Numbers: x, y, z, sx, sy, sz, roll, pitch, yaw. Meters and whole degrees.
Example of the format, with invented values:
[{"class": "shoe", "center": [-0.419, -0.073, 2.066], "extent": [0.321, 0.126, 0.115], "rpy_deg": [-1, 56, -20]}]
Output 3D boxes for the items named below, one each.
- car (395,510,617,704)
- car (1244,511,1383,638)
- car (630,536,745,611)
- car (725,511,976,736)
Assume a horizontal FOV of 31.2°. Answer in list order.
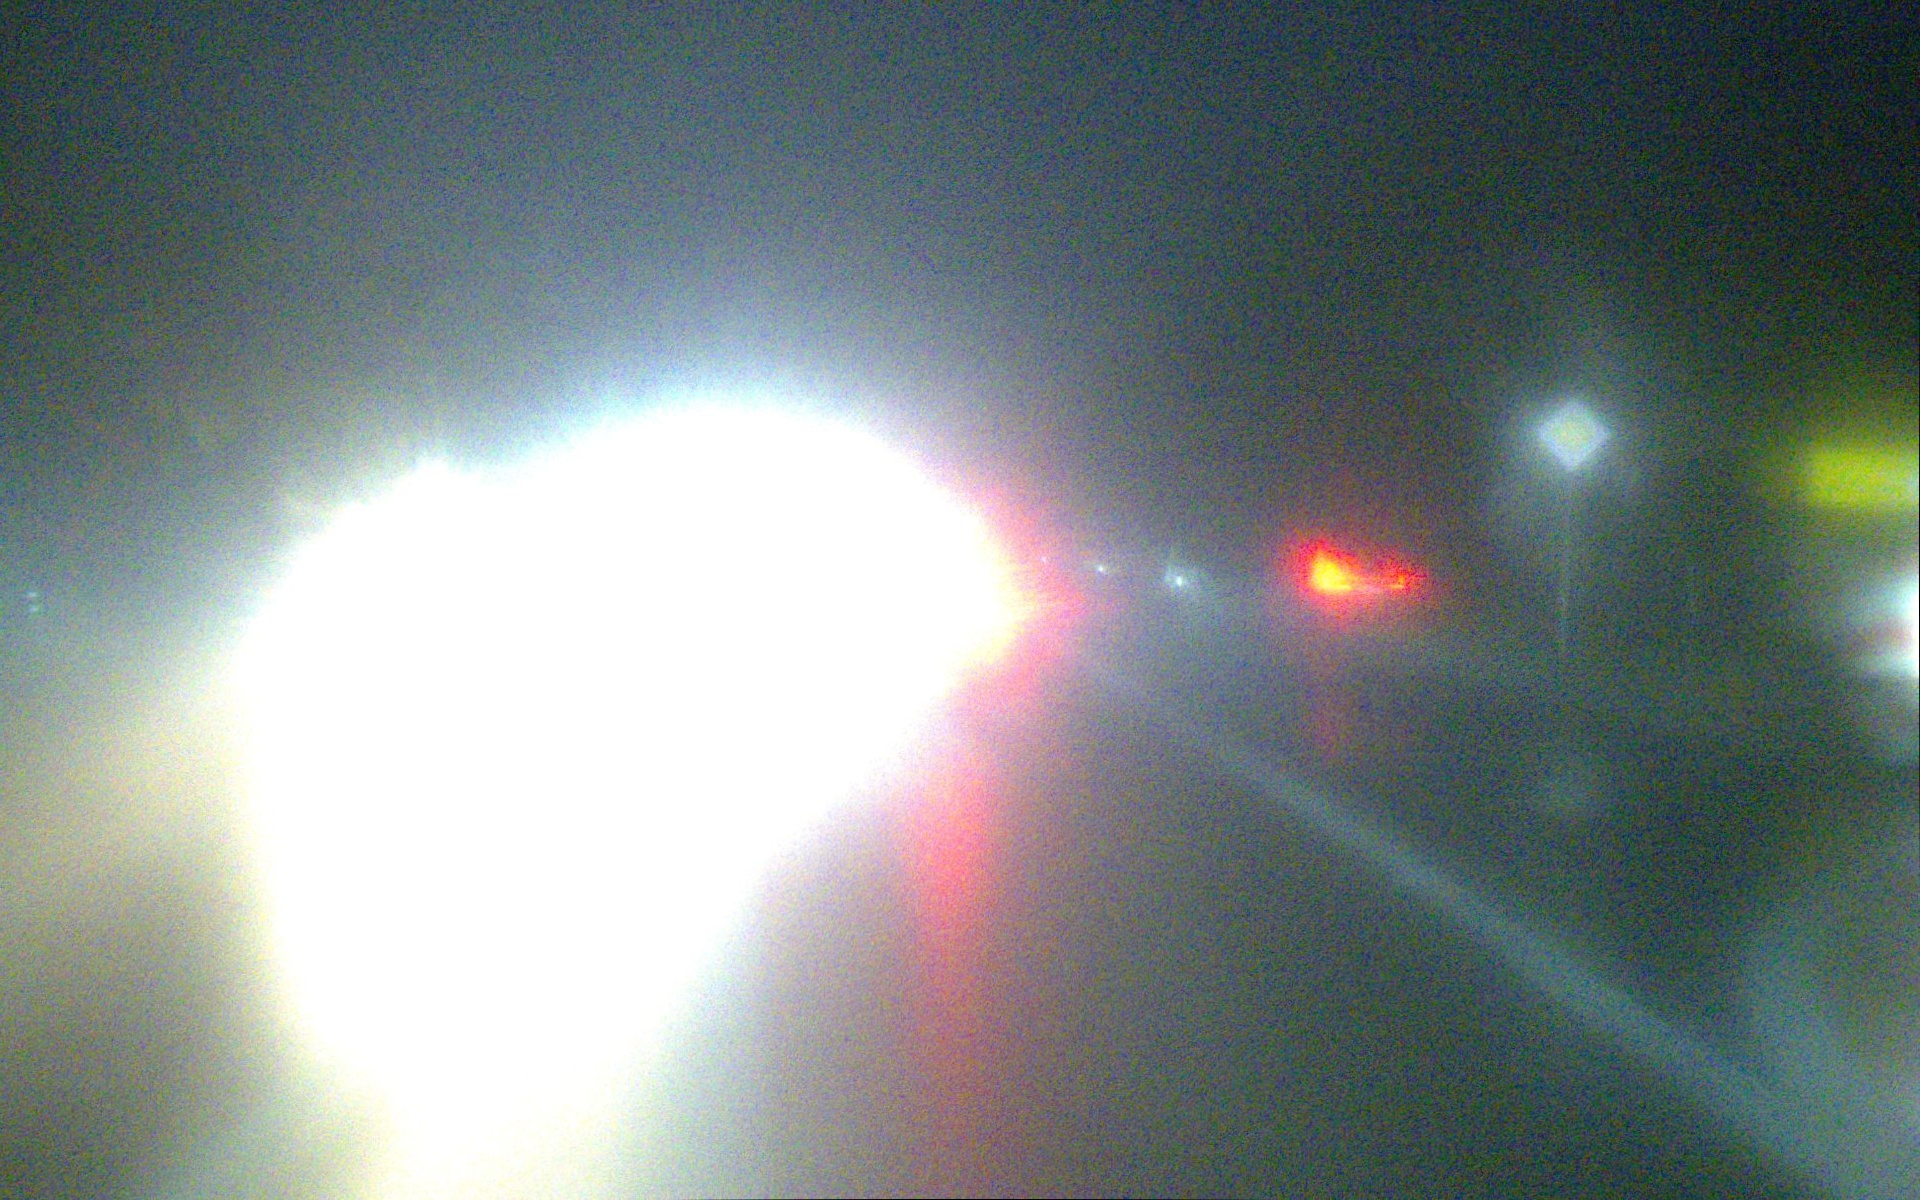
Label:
[{"class": "car", "center": [-4.234, 0.032, 32.551], "extent": [1.790, 1.685, 4.001], "rpy_deg": [1, 1, -4]}, {"class": "car", "center": [5.903, -0.438, 57.885], "extent": [2.093, 2.007, 4.000], "rpy_deg": [1, 1, 3]}, {"class": "car", "center": [-5.438, -0.551, 69.133], "extent": [1.993, 1.413, 4.666], "rpy_deg": [1, 1, -1]}, {"class": "car", "center": [-0.892, 0.140, 27.130], "extent": [1.808, 1.616, 4.001], "rpy_deg": [1, 1, -3]}]
